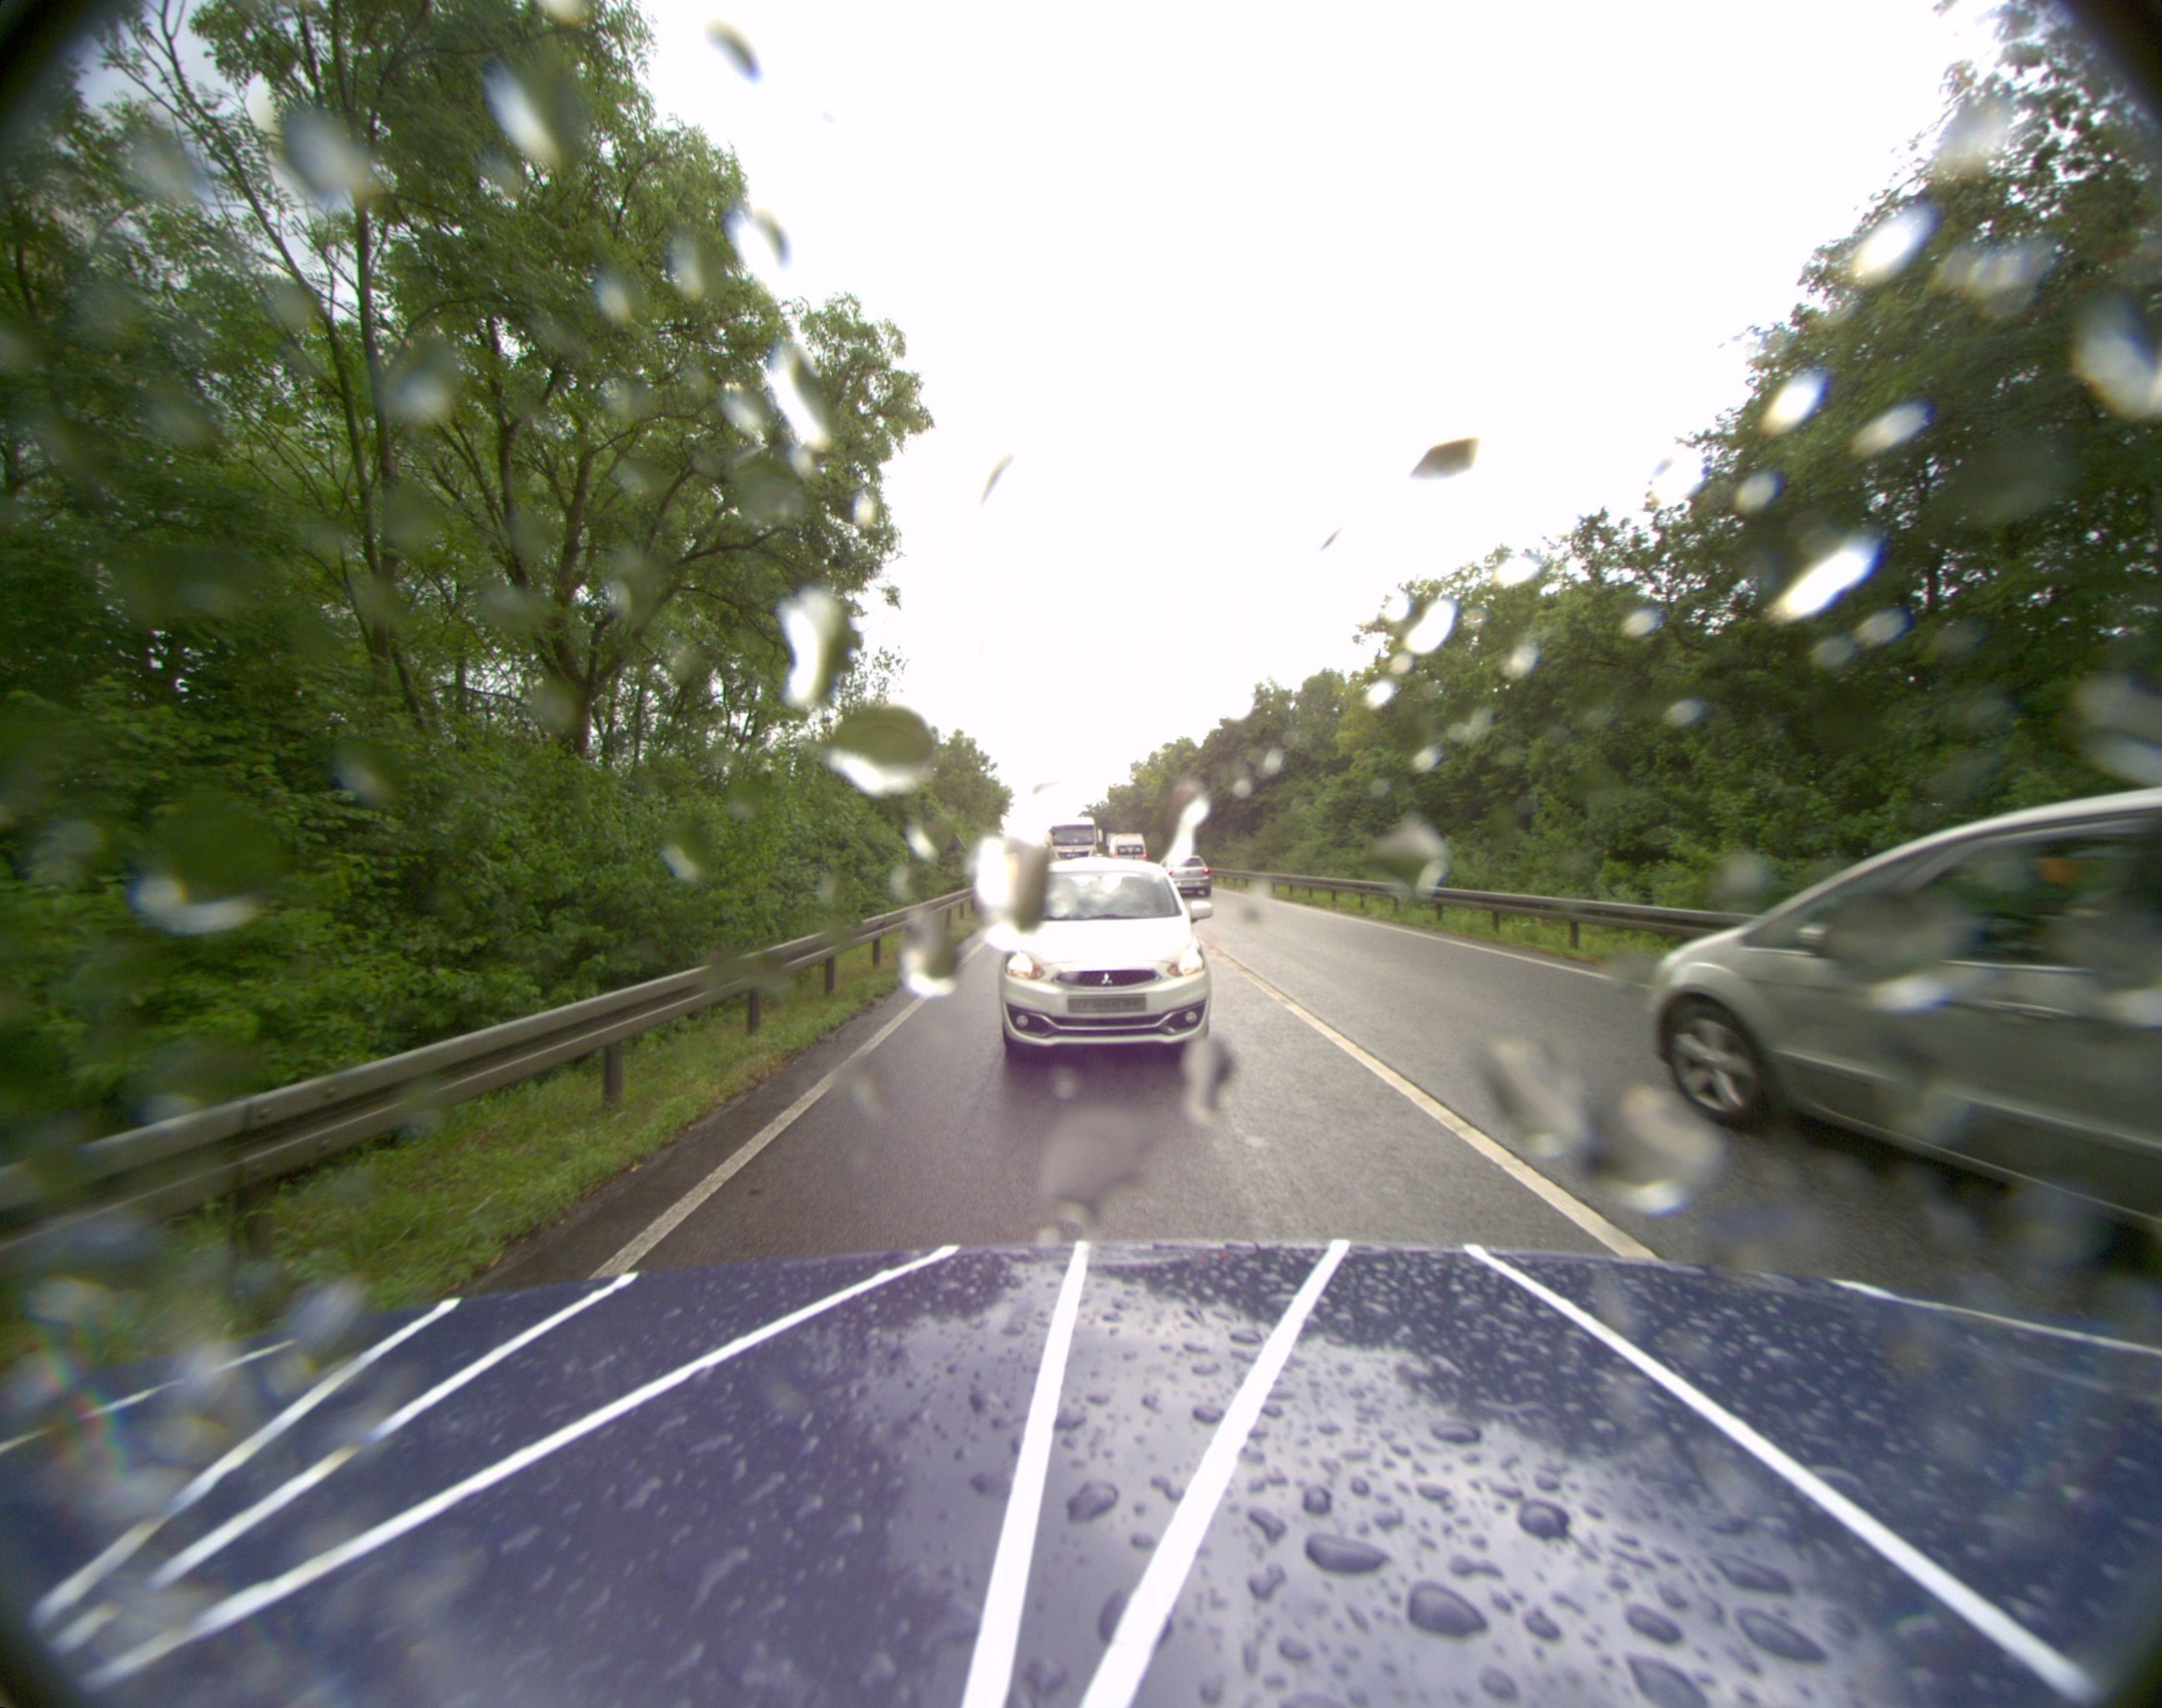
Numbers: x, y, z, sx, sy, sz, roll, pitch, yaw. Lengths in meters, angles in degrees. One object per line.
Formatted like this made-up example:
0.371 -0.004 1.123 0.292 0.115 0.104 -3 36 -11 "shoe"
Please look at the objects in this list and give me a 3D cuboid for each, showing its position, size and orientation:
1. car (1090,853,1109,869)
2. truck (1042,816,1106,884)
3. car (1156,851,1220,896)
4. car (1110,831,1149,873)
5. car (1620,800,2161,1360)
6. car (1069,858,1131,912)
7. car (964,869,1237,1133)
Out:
1.895 0.685 78.925 1.696 1.547 4.440 -2 1 -1 "car"
-0.497 -0.292 43.402 3.137 3.364 9.280 -2 1 -2 "truck"
3.810 0.665 27.689 1.732 1.423 3.848 -2 1 0 "car"
3.236 -0.177 51.669 2.053 2.661 6.169 -2 1 -1 "car"
4.113 0.645 2.237 1.819 1.676 4.622 -2 1 1 "car"
0.487 0.865 23.268 1.641 1.413 4.491 -2 0 -1 "car"
0.136 0.941 6.740 1.610 1.435 4.209 -2 1 0 "car"
